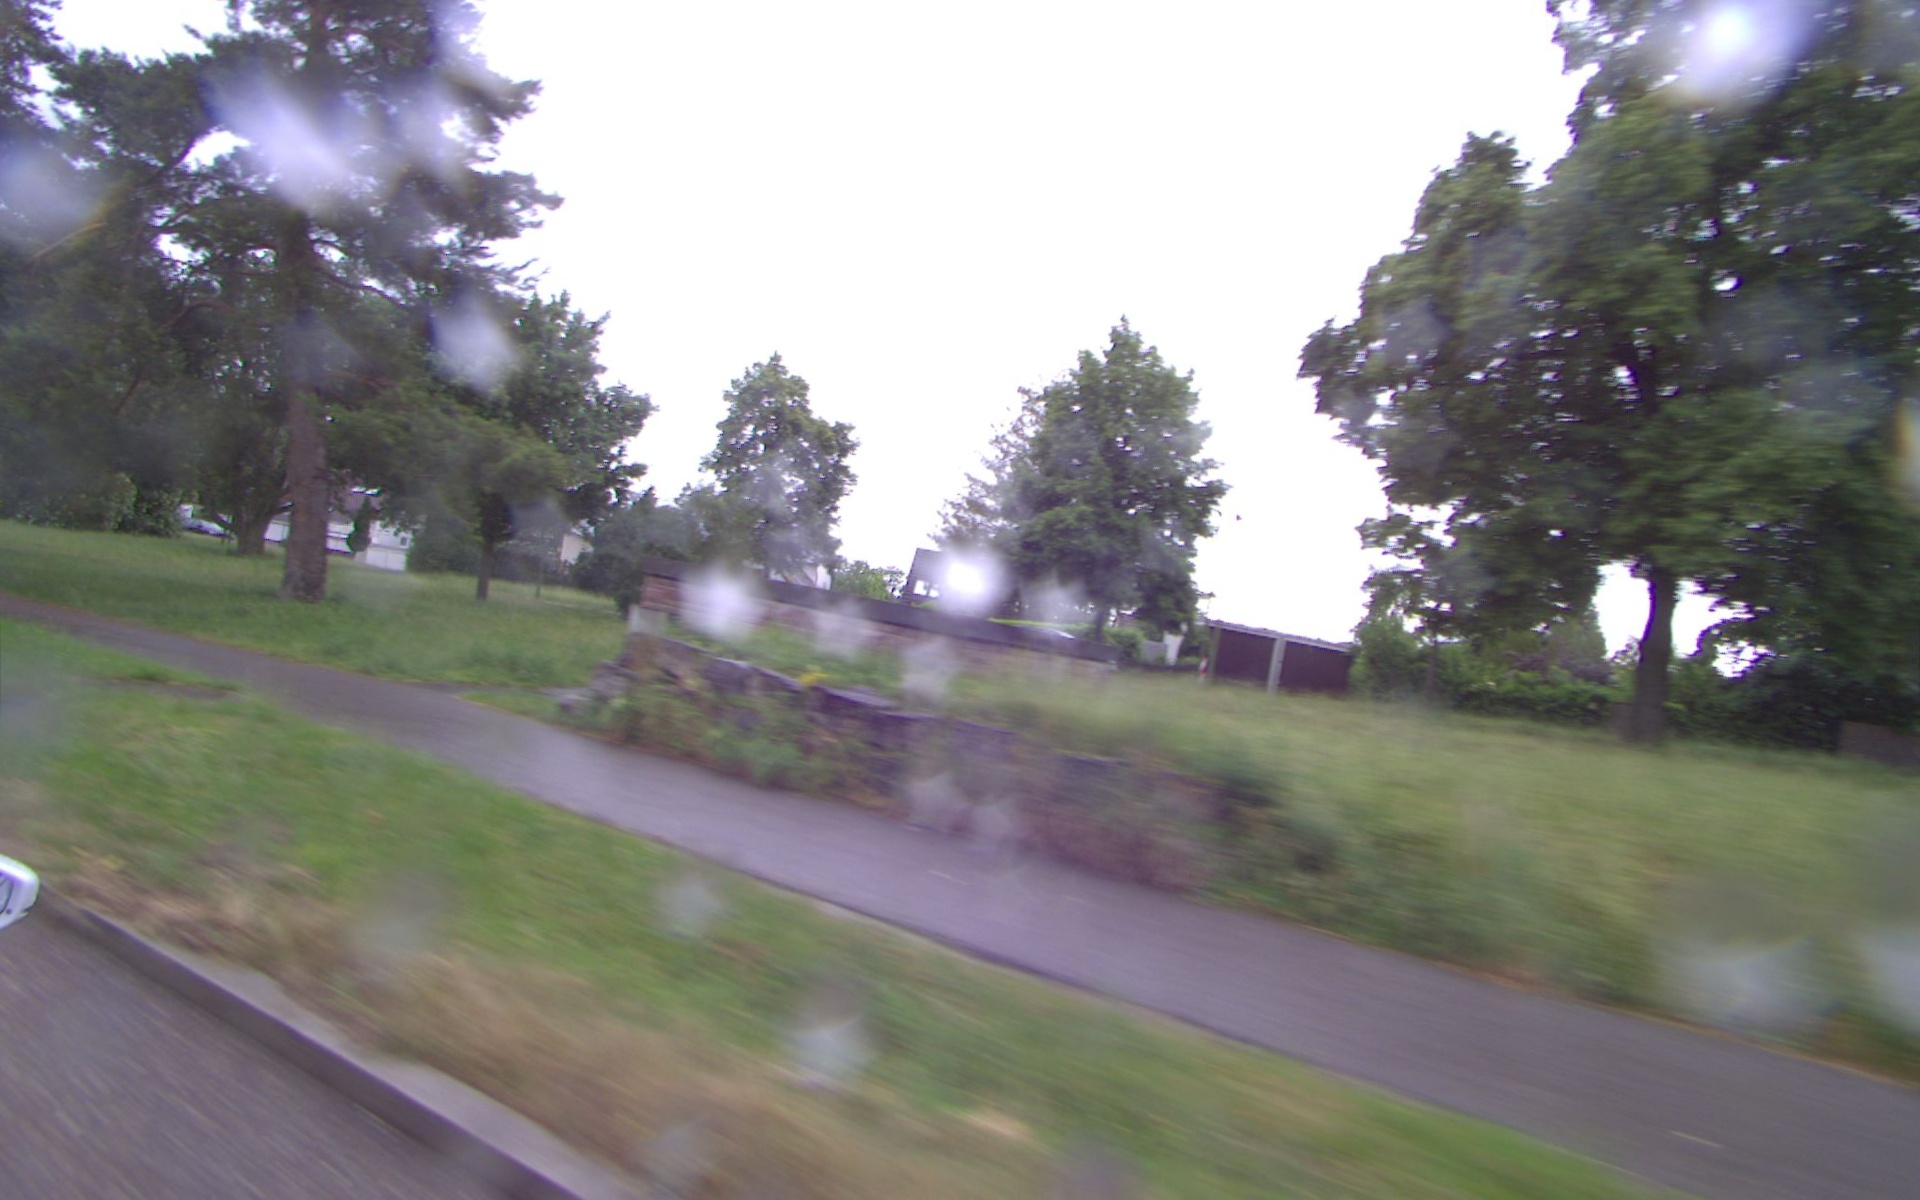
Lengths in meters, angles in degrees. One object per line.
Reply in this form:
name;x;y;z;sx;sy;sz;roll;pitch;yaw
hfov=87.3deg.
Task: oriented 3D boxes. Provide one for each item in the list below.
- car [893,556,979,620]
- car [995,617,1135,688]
car;-1.123;-0.519;51.973;2.564;2.527;6.691;10;0;12
car;3.356;1.665;32.418;3.938;1.672;1.827;7;-1;36
